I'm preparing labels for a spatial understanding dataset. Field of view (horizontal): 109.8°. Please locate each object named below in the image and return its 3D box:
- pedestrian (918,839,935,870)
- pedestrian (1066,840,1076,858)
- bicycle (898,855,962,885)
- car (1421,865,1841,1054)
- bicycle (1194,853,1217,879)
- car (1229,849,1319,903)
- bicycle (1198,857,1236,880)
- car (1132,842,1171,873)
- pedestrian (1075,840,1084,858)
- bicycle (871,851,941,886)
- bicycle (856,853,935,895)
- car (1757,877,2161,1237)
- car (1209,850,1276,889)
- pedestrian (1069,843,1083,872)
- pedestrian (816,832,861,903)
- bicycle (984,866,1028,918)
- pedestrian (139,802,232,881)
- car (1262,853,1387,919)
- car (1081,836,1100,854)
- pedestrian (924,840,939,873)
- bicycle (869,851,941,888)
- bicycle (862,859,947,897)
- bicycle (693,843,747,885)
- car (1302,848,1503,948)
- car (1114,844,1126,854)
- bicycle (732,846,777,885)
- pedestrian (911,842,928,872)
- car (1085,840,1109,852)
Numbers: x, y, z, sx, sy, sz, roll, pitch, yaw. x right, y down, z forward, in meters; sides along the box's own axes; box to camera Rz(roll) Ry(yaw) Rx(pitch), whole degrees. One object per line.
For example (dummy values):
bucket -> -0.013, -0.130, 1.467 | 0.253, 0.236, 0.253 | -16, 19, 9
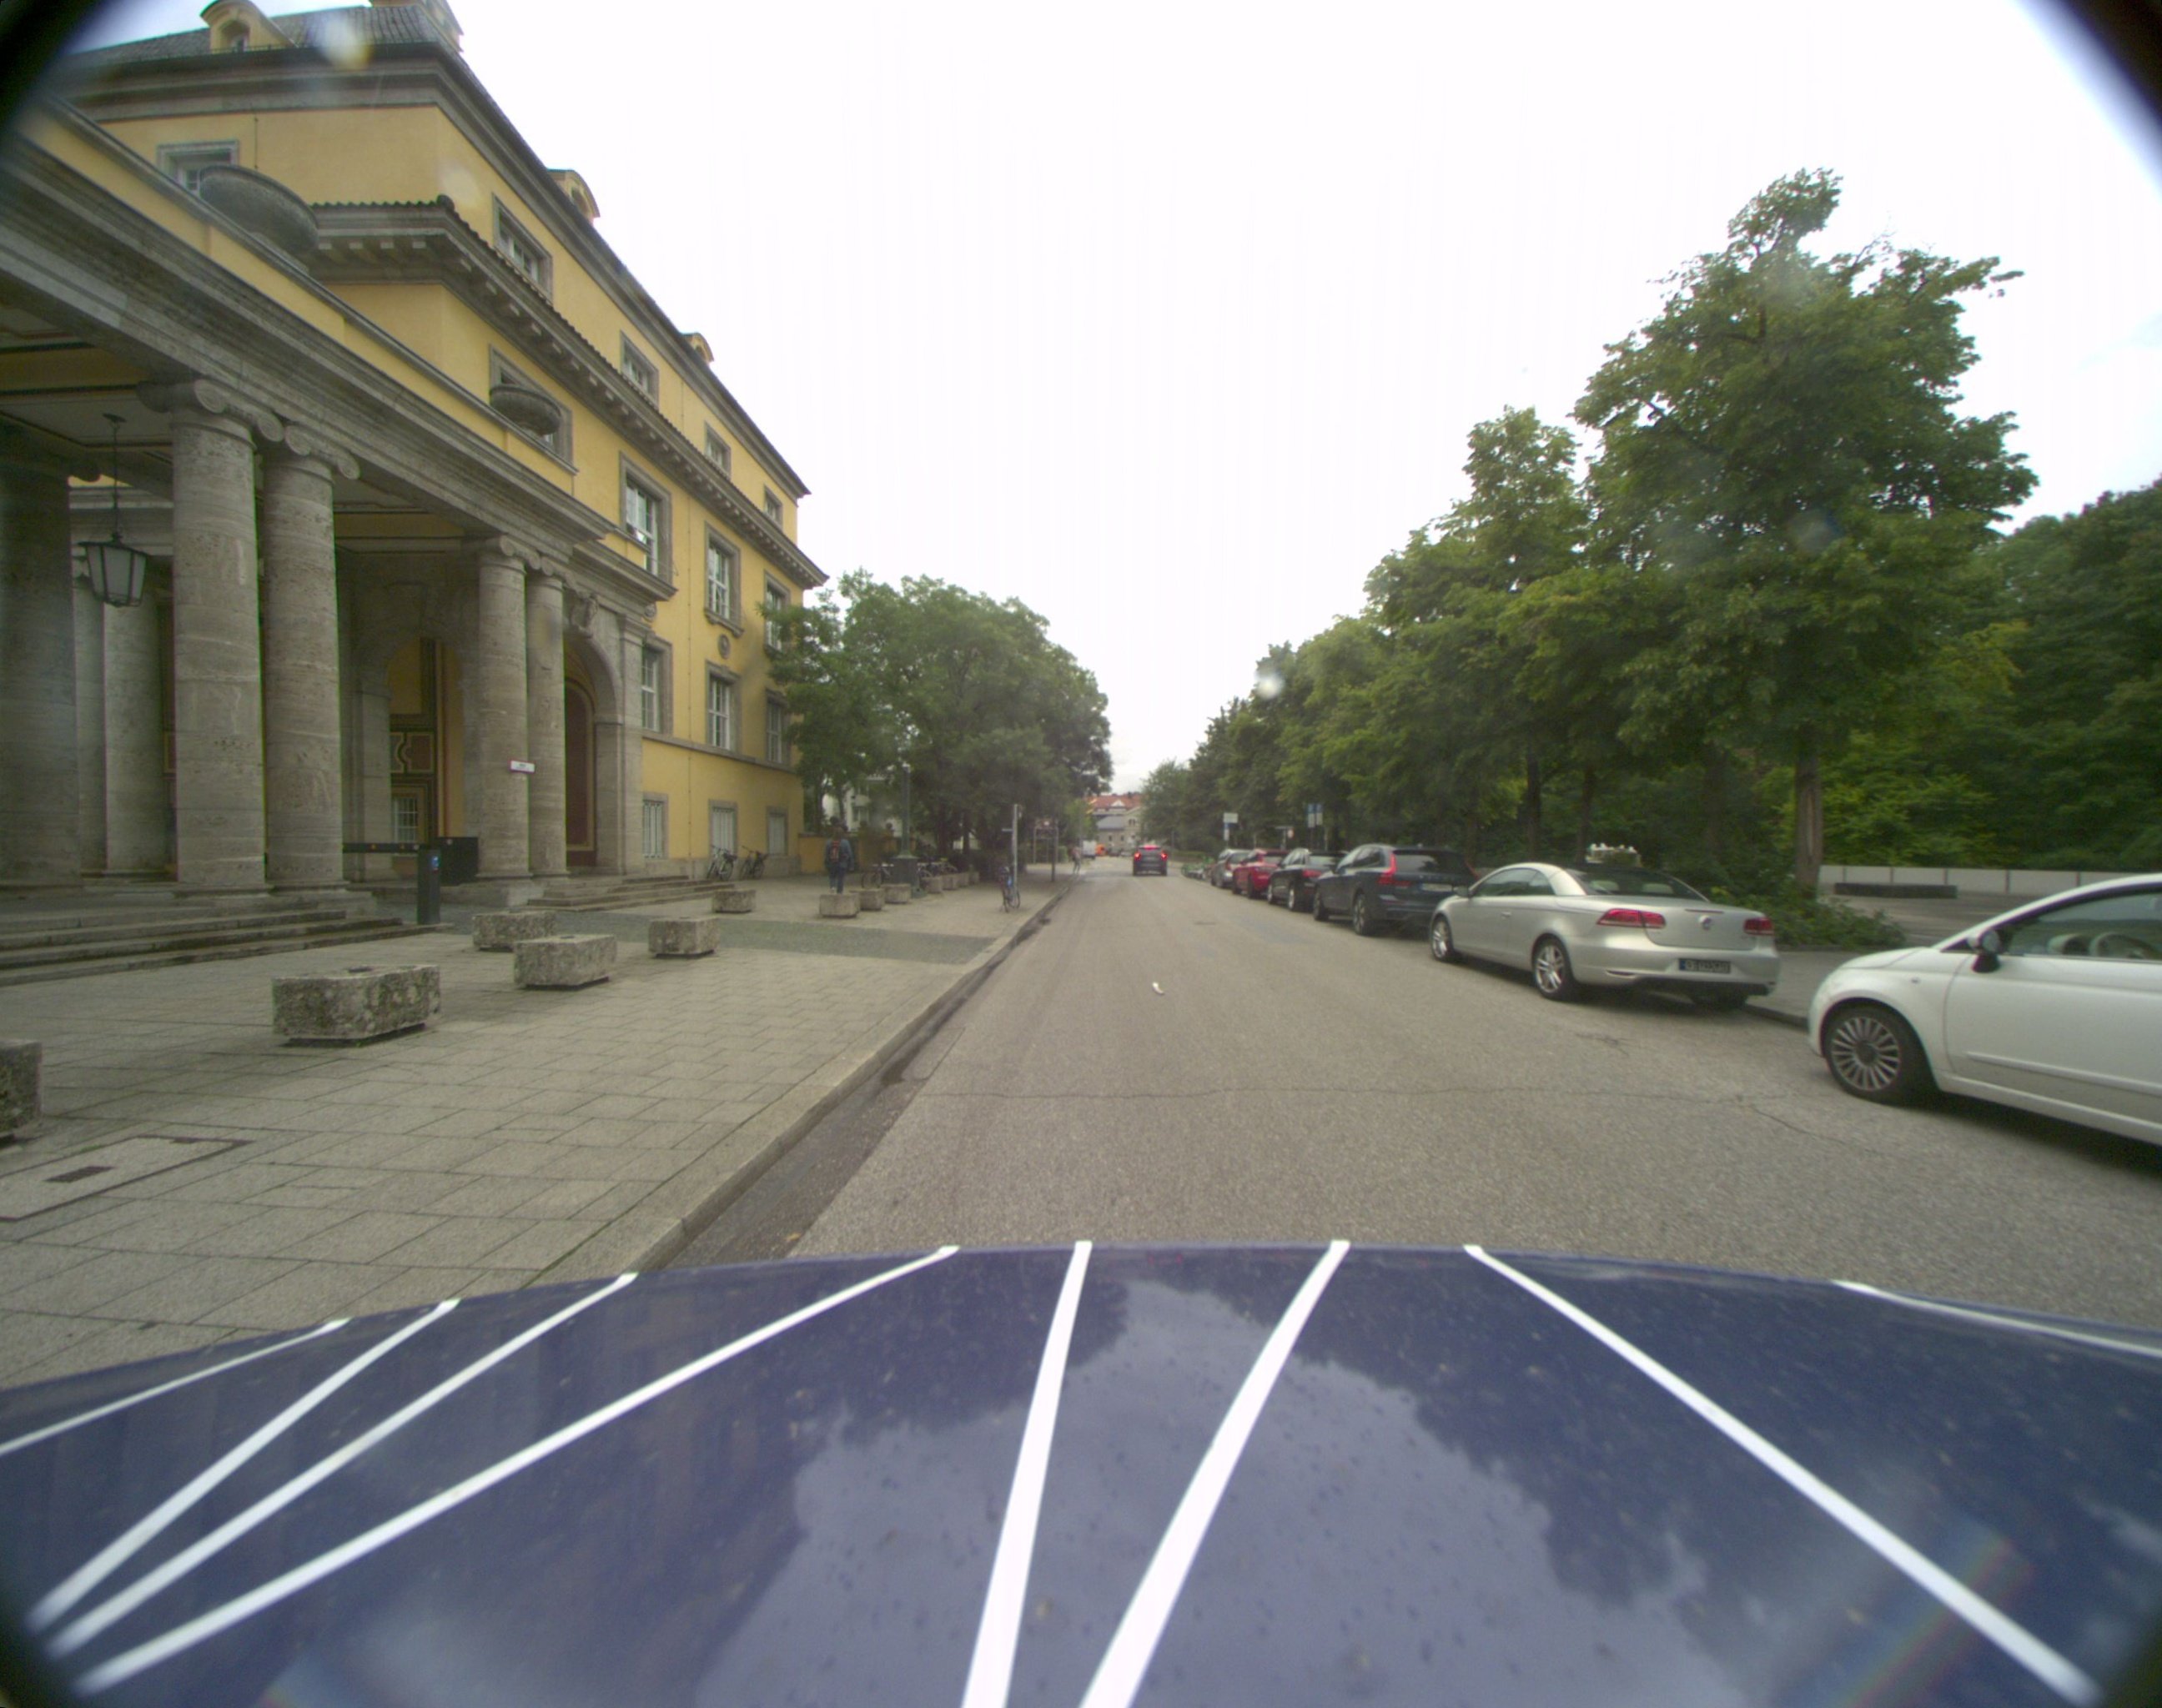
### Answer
pedestrian -> -9.731, 0.018, 47.861 | 0.782, 1.855, 1.035 | 3, 2, 2
pedestrian -> -1.038, -0.494, 79.061 | 0.777, 1.855, 0.997 | -3, 2, -6
bicycle -> -5.692, 0.598, 28.658 | 2.261, 1.005, 0.602 | 2, 1, 4
car -> 5.582, 0.919, 8.545 | 1.762, 1.392, 4.217 | 3, 1, 3
bicycle -> 6.279, 0.609, 38.289 | 0.574, 1.275, 1.421 | -1, 1, 34
car -> 6.129, 0.632, 24.685 | 1.998, 1.535, 4.364 | 1, 1, 3
bicycle -> 6.583, 0.705, 36.753 | 1.700, 1.101, 0.598 | 0, 2, -6
car -> 4.047, 0.166, 44.530 | 1.965, 1.672, 4.912 | 2, 1, 2
pedestrian -> -0.131, -0.533, 78.916 | 0.777, 1.855, 0.997 | -3, 2, -4
bicycle -> -6.097, 0.511, 26.513 | 2.264, 1.018, 0.601 | 5, 1, -9
bicycle -> -5.777, 0.634, 23.800 | 2.264, 1.088, 0.601 | 5, 1, -9
car -> 5.437, 0.936, 3.467 | 1.547, 1.462, 3.553 | 2, 1, 2
car -> 6.568, 0.571, 31.355 | 1.998, 1.452, 4.364 | 1, 1, 3
pedestrian -> -0.297, 0.191, 46.713 | 0.798, 1.722, 0.660 | -3, 2, 1
pedestrian -> -6.152, 0.323, 19.325 | 0.790, 1.736, 1.056 | 1, 1, 1
bicycle -> -1.798, 0.897, 18.536 | 0.762, 1.094, 2.264 | 2, 1, 1
pedestrian -> -20.243, -0.290, 17.204 | 0.806, 1.710, 0.984 | -3, 2, 0
car -> 6.202, 0.737, 19.979 | 1.998, 1.452, 4.647 | 1, 1, 3
car -> 1.323, -1.293, 106.986 | 2.236, 2.289, 4.728 | -3, 1, -3
pedestrian -> -8.805, 0.133, 44.748 | 0.658, 1.855, 0.821 | 3, 2, 2
bicycle -> -5.905, 0.517, 25.594 | 2.264, 1.053, 0.601 | 5, 1, -9
bicycle -> -5.226, 0.703, 22.606 | 2.370, 1.000, 0.677 | 3, 1, -7
bicycle -> -11.603, 0.293, 24.486 | 0.601, 1.299, 2.264 | 1, 1, 2
car -> 5.832, 0.691, 14.493 | 1.998, 1.574, 4.522 | 1, 1, 2
car -> 7.969, -1.020, 155.287 | 2.221, 1.840, 4.730 | -3, 1, 2
bicycle -> -11.521, 0.375, 26.844 | 0.601, 1.299, 2.165 | 1, 1, 2
pedestrian -> -9.523, 0.162, 44.777 | 0.741, 1.734, 0.841 | 3, 2, 2
car -> 3.571, -1.749, 169.813 | 2.578, 2.521, 4.973 | -4, 2, -45
